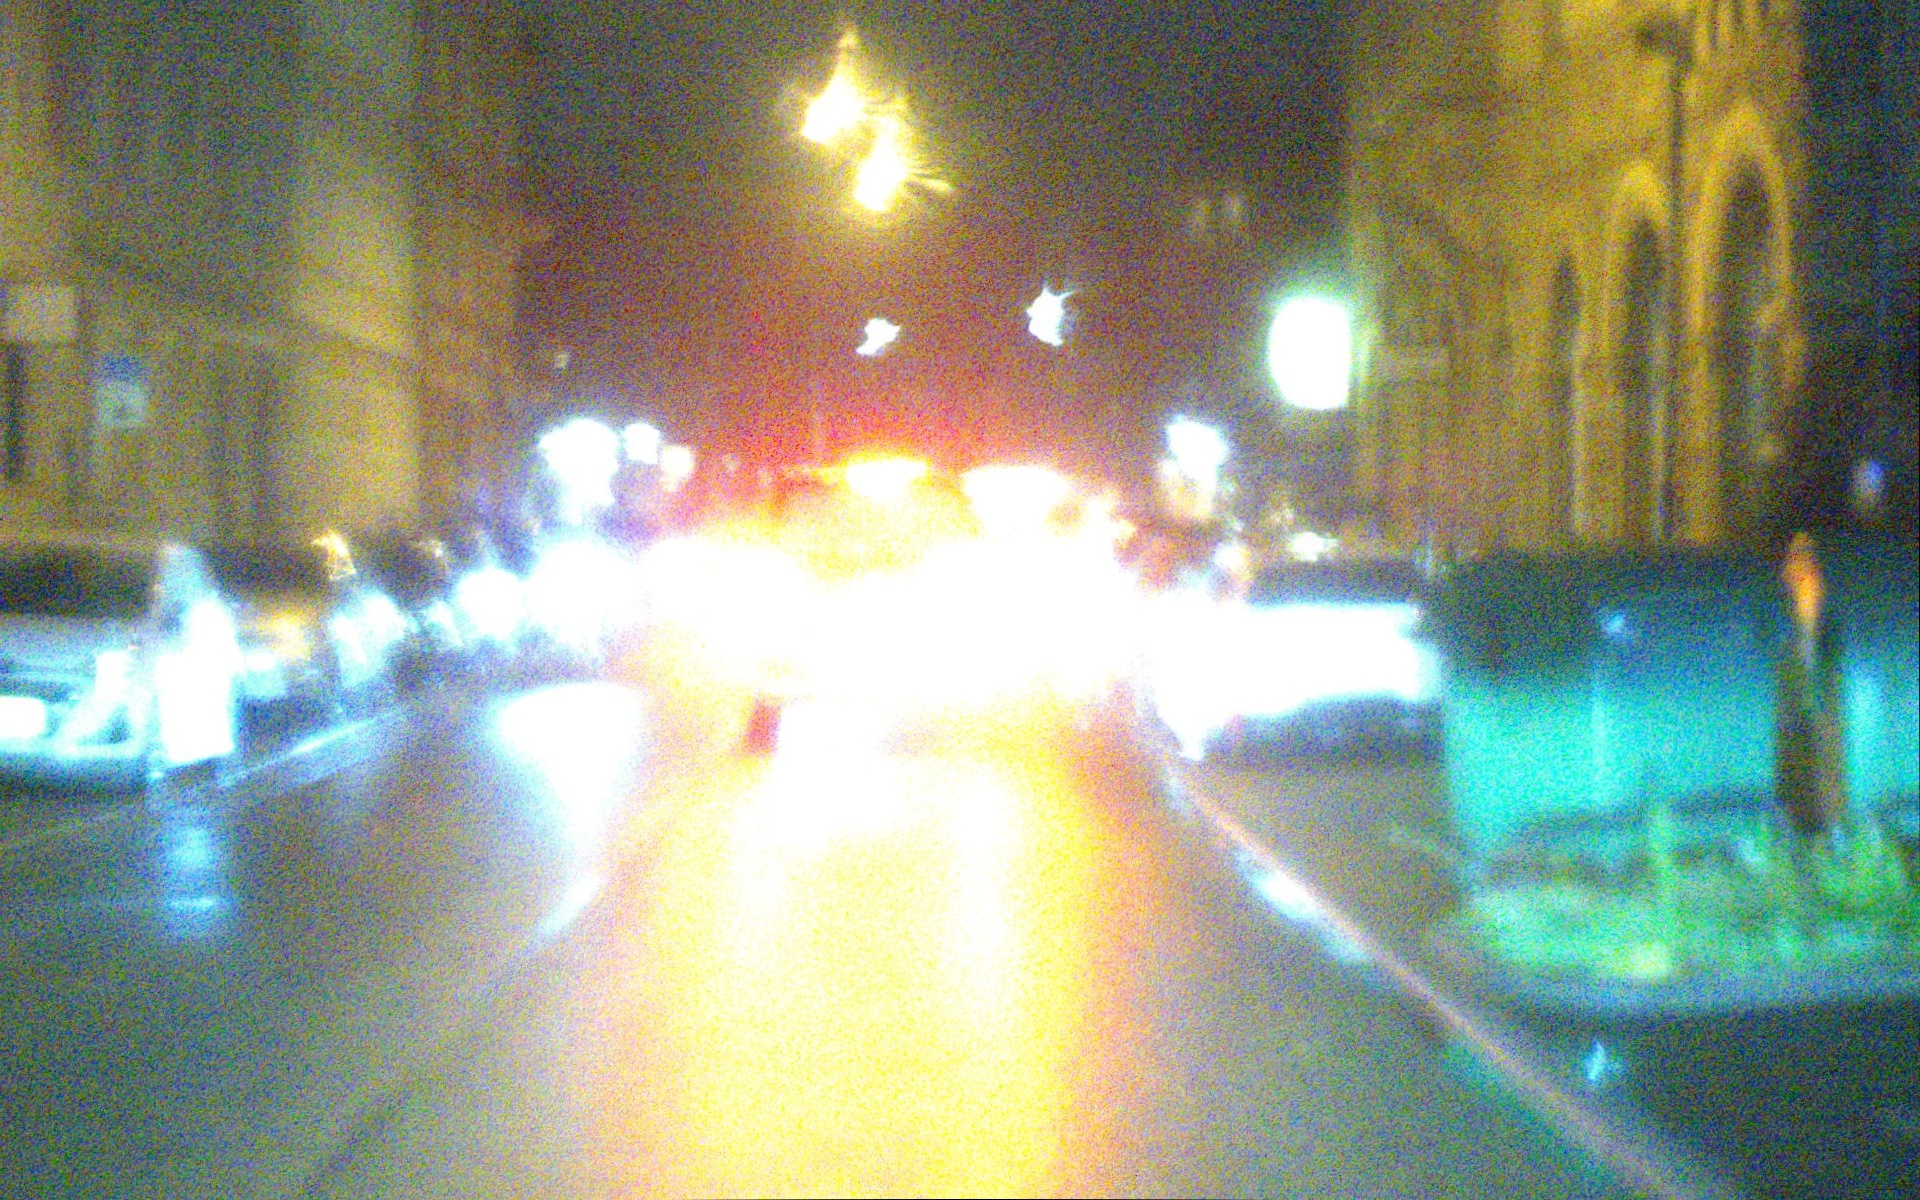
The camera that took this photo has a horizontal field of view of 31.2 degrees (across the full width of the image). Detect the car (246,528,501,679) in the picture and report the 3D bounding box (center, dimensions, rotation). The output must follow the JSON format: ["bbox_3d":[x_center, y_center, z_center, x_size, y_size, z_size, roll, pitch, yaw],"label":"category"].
[{"bbox_3d":[-5.745,-0.013,34.134,1.822,1.385,4.426,0,1,-1],"label":"car"}]

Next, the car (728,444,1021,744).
[{"bbox_3d":[-0.591,-0.104,25.852,1.996,2.042,4.694,0,2,0],"label":"car"}]

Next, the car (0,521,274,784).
[{"bbox_3d":[-5.553,0.263,21.814,1.672,1.486,3.722,1,1,-1],"label":"car"}]

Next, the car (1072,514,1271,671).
[{"bbox_3d":[2.086,-0.120,34.766,1.689,1.493,3.892,0,1,-1],"label":"car"}]

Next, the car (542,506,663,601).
[{"bbox_3d":[-6.645,-0.891,64.344,1.832,1.711,4.595,0,1,-1],"label":"car"}]

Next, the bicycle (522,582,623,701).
[{"bbox_3d":[-3.759,0.381,33.516,0.727,1.069,2.348,-1,1,-1],"label":"bicycle"}]

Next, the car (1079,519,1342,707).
[{"bbox_3d":[2.081,0.059,29.497,1.689,1.493,3.892,0,1,-4],"label":"car"}]

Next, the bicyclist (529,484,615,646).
[{"bbox_3d":[-3.787,-0.347,33.604,0.718,1.551,0.895,-1,1,-1],"label":"bicyclist"}]

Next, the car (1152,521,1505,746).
[{"bbox_3d":[2.514,0.167,24.537,1.993,1.459,4.417,0,1,-1],"label":"car"}]

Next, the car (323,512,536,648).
[{"bbox_3d":[-6.056,-0.266,39.672,1.832,1.476,4.307,0,1,-1],"label":"car"}]

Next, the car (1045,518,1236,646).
[{"bbox_3d":[2.046,-0.249,40.036,1.917,1.407,4.001,0,1,-1],"label":"car"}]

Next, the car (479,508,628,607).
[{"bbox_3d":[-6.320,-0.696,53.907,1.832,1.481,4.595,0,1,-1],"label":"car"}]

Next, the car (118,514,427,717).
[{"bbox_3d":[-5.610,0.071,28.505,1.774,1.567,4.135,0,1,-1],"label":"car"}]

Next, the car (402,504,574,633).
[{"bbox_3d":[-6.046,-0.433,44.379,1.745,1.583,3.766,0,1,-1],"label":"car"}]

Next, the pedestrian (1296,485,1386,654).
[{"bbox_3d":[4.147,-0.347,37.479,0.862,1.782,1.083,-2,2,3],"label":"pedestrian"}]

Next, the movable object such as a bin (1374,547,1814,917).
[{"bbox_3d":[2.619,0.500,14.240,1.337,1.424,1.201,-1,2,-37],"label":"movable object such as a bin"}]

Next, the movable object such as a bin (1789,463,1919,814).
[{"bbox_3d":[4.205,0.145,14.453,1.309,1.424,1.050,0,1,9],"label":"movable object such as a bin"}]
